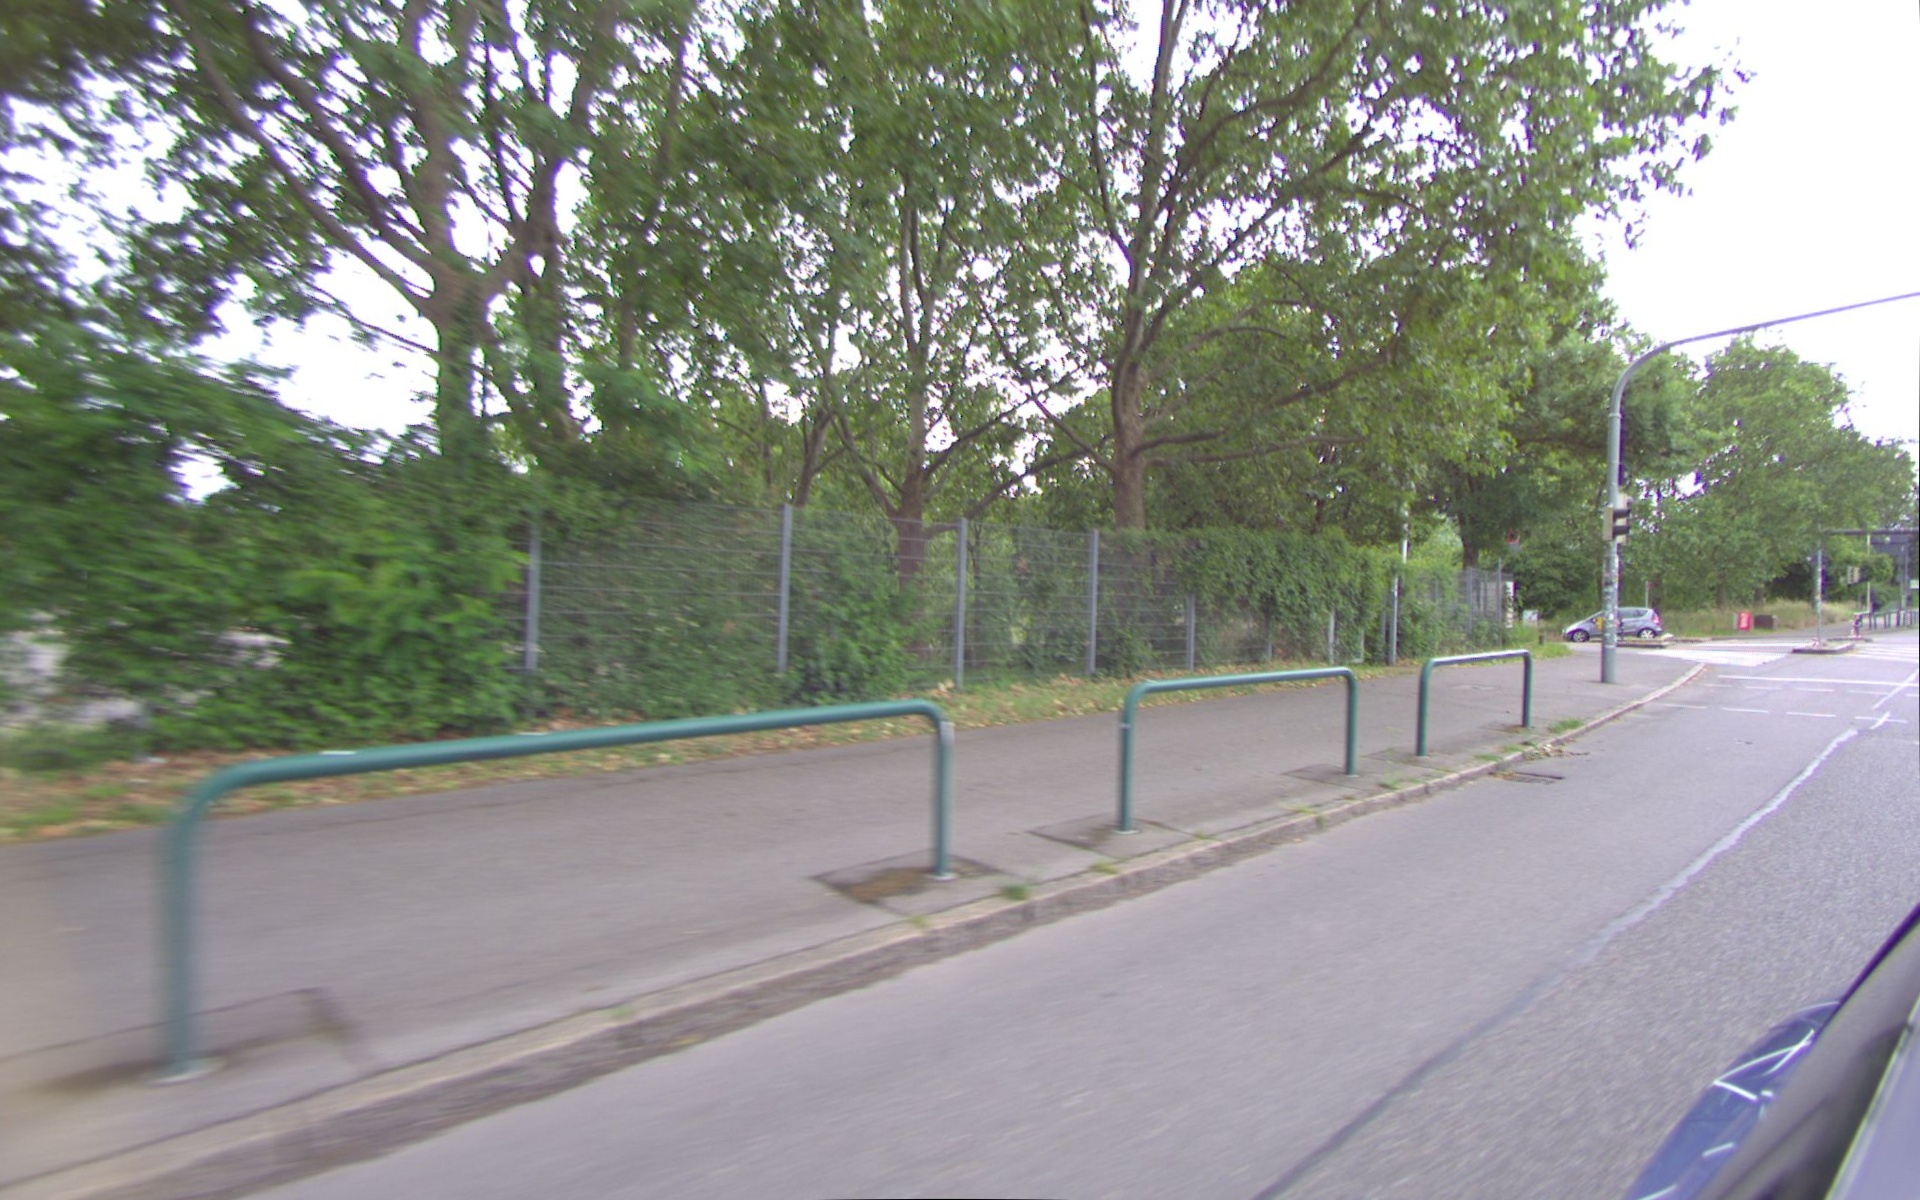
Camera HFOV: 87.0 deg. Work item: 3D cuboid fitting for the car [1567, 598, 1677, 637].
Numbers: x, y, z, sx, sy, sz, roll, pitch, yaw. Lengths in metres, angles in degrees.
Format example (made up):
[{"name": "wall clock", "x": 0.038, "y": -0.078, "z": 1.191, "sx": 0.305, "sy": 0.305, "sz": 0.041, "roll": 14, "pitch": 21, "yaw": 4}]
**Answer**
[{"name": "car", "x": 29.908, "y": 0.778, "z": 45.847, "sx": 3.999, "sy": 1.637, "sz": 1.813, "roll": 1, "pitch": -1, "yaw": 30}]
